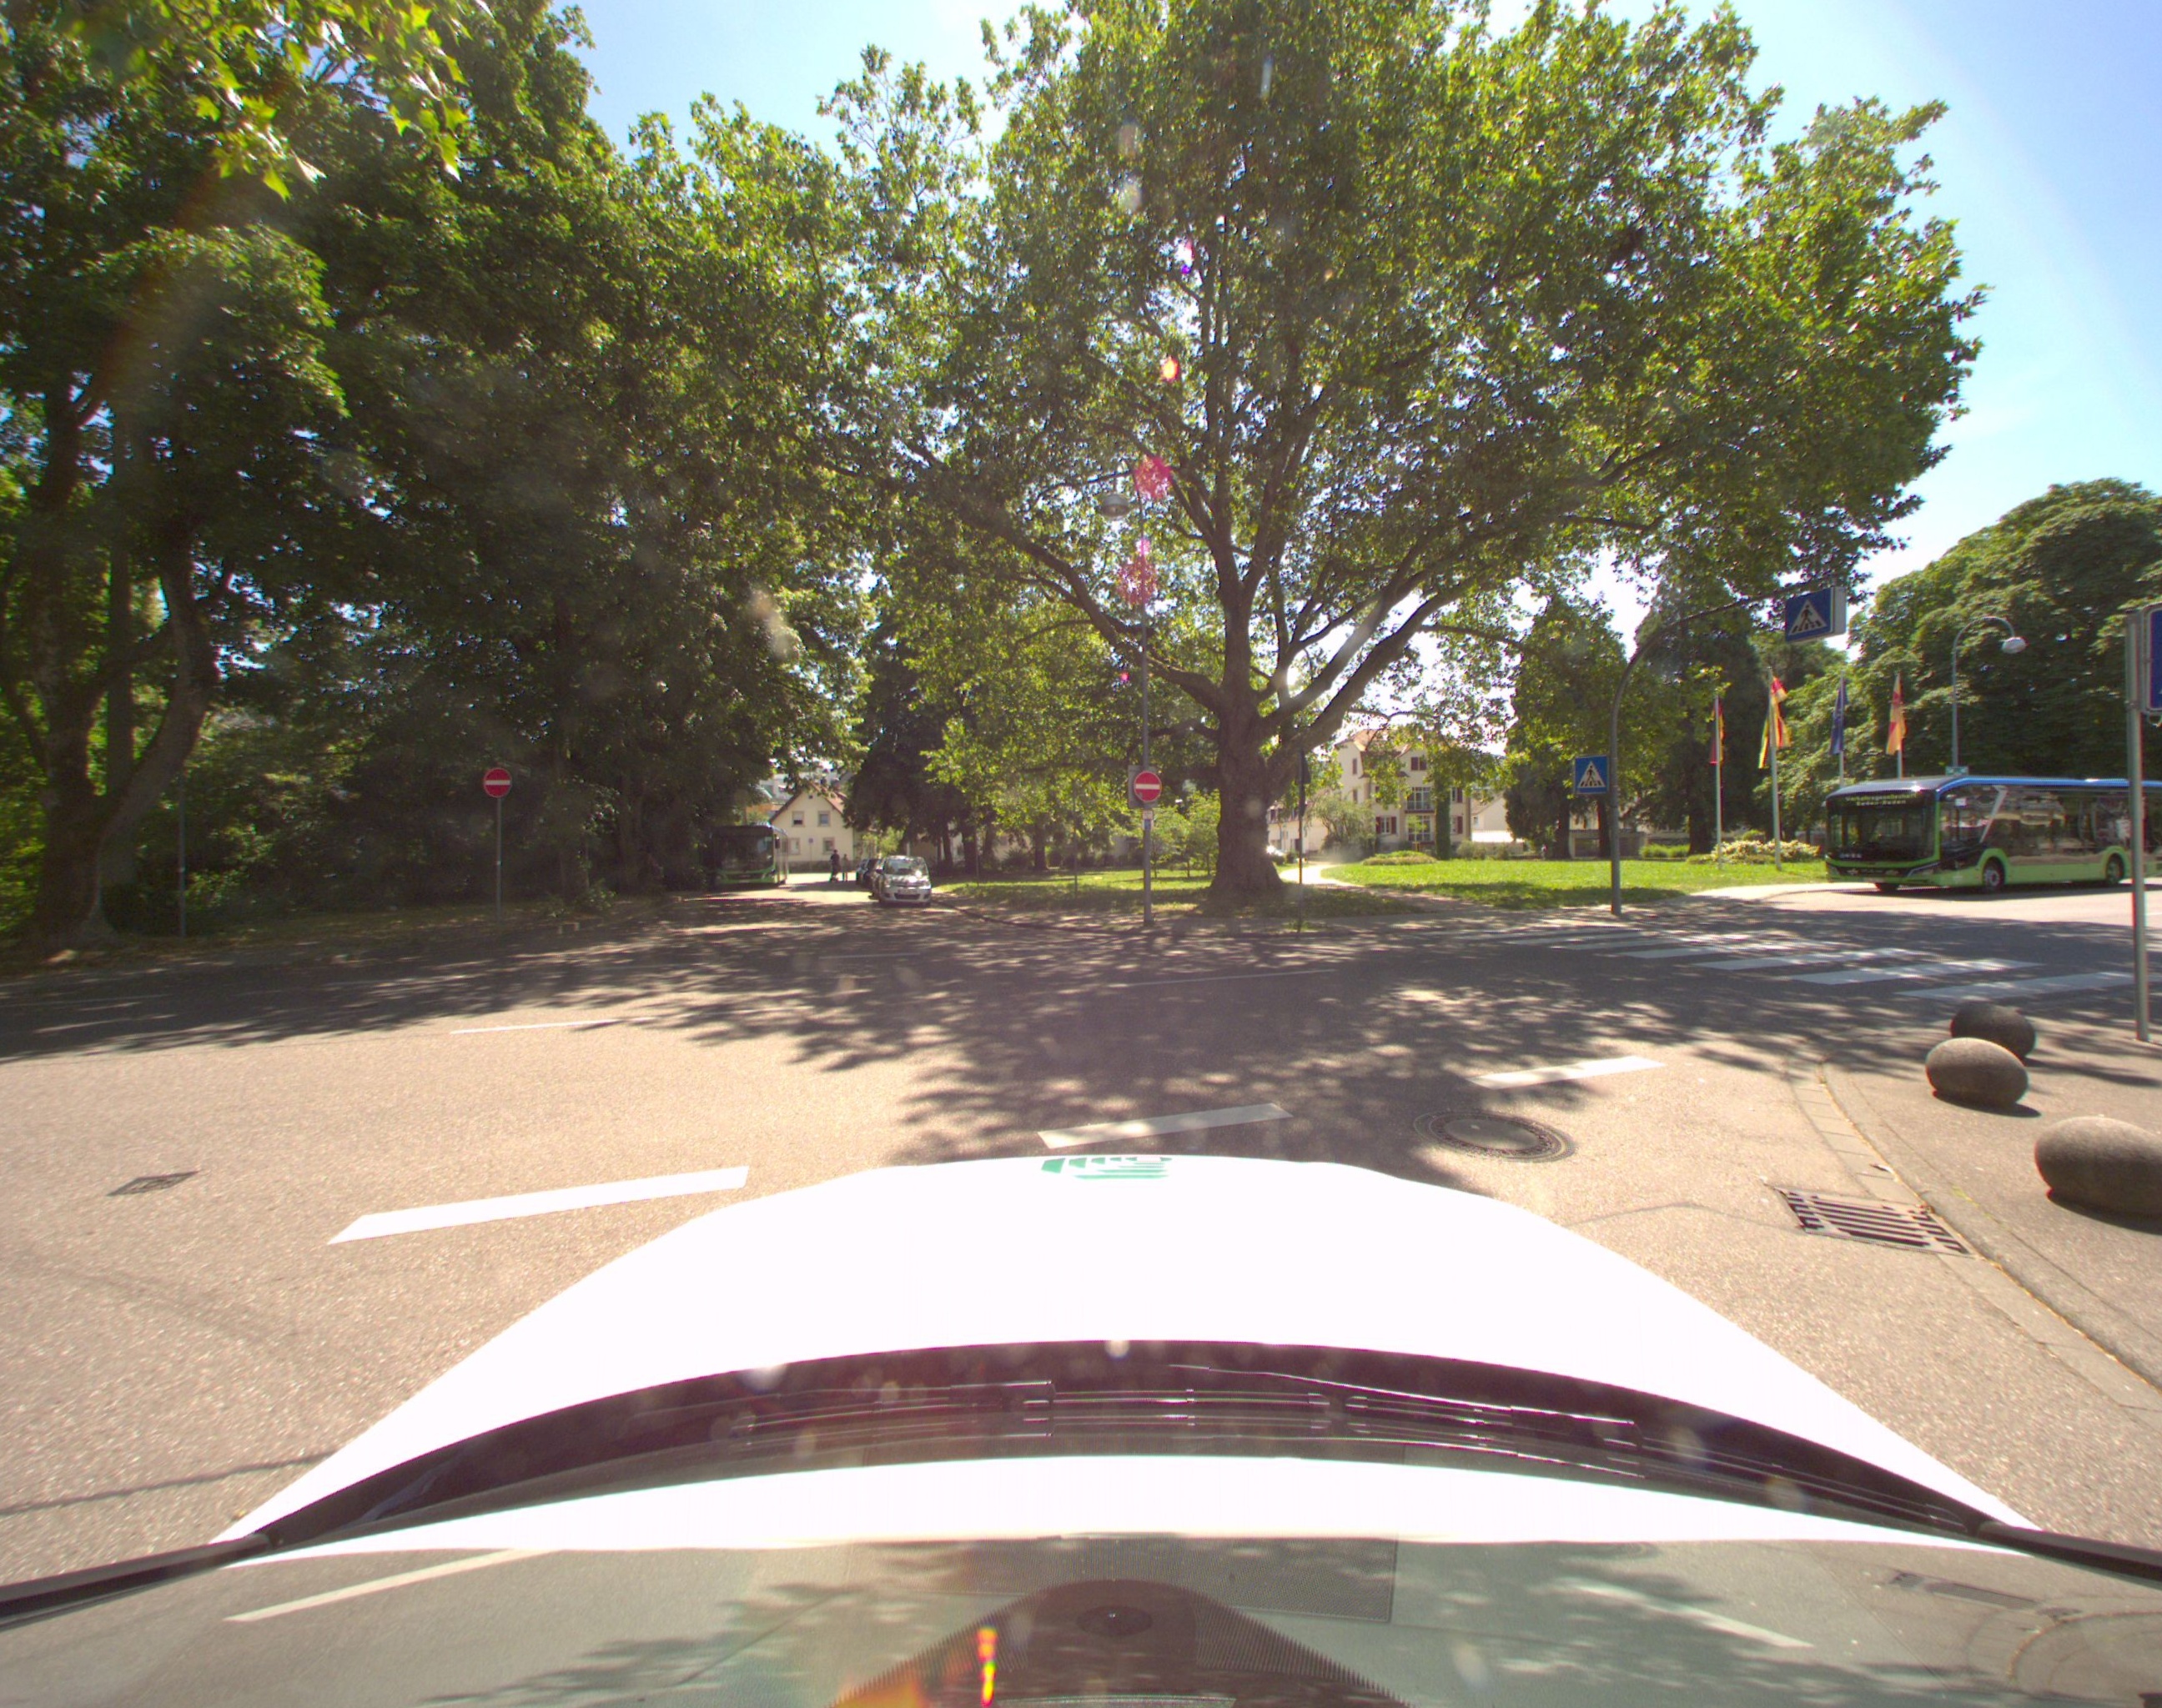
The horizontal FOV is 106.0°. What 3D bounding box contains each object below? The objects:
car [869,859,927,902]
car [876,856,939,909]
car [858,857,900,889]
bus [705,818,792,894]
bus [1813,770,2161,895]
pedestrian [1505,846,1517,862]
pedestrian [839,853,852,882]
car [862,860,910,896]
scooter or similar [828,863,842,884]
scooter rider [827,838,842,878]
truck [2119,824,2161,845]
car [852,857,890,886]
[{"bbox_3d":[-6.874,0.918,30.245,1.755,1.439,4.476,0,0,-17],"label":"car"},{"bbox_3d":[-5.406,0.823,25.086,1.599,1.497,3.465,0,0,-17],"label":"car"},{"bbox_3d":[-10.261,0.897,41.089,1.759,1.493,4.349,-1,0,-18],"label":"car"},{"bbox_3d":[-17.291,0.083,43.392,2.875,3.295,15.857,-1,0,-17],"label":"bus"},{"bbox_3d":[27.889,-0.706,24.636,12.419,3.283,2.801,-1,0,-19],"label":"bus"},{"bbox_3d":[36.759,-0.022,69.655,0.817,1.370,0.622,2,2,32],"label":"pedestrian"},{"bbox_3d":[-14.739,0.855,50.977,0.720,1.802,0.937,-1,0,-12],"label":"pedestrian"},{"bbox_3d":[-8.813,1.017,36.591,1.755,1.439,4.742,-1,0,-17],"label":"car"},{"bbox_3d":[-14.395,1.132,47.645,0.740,1.183,1.510,-1,0,-16],"label":"scooter or similar"},{"bbox_3d":[-14.413,0.220,47.656,0.740,2.317,0.922,-1,0,-17],"label":"scooter rider"},{"bbox_3d":[119.526,-2.147,87.730,2.264,2.349,11.393,-1,0,8],"label":"truck"},{"bbox_3d":[-11.659,0.938,45.085,1.759,1.493,3.894,-1,0,-18],"label":"car"}]
